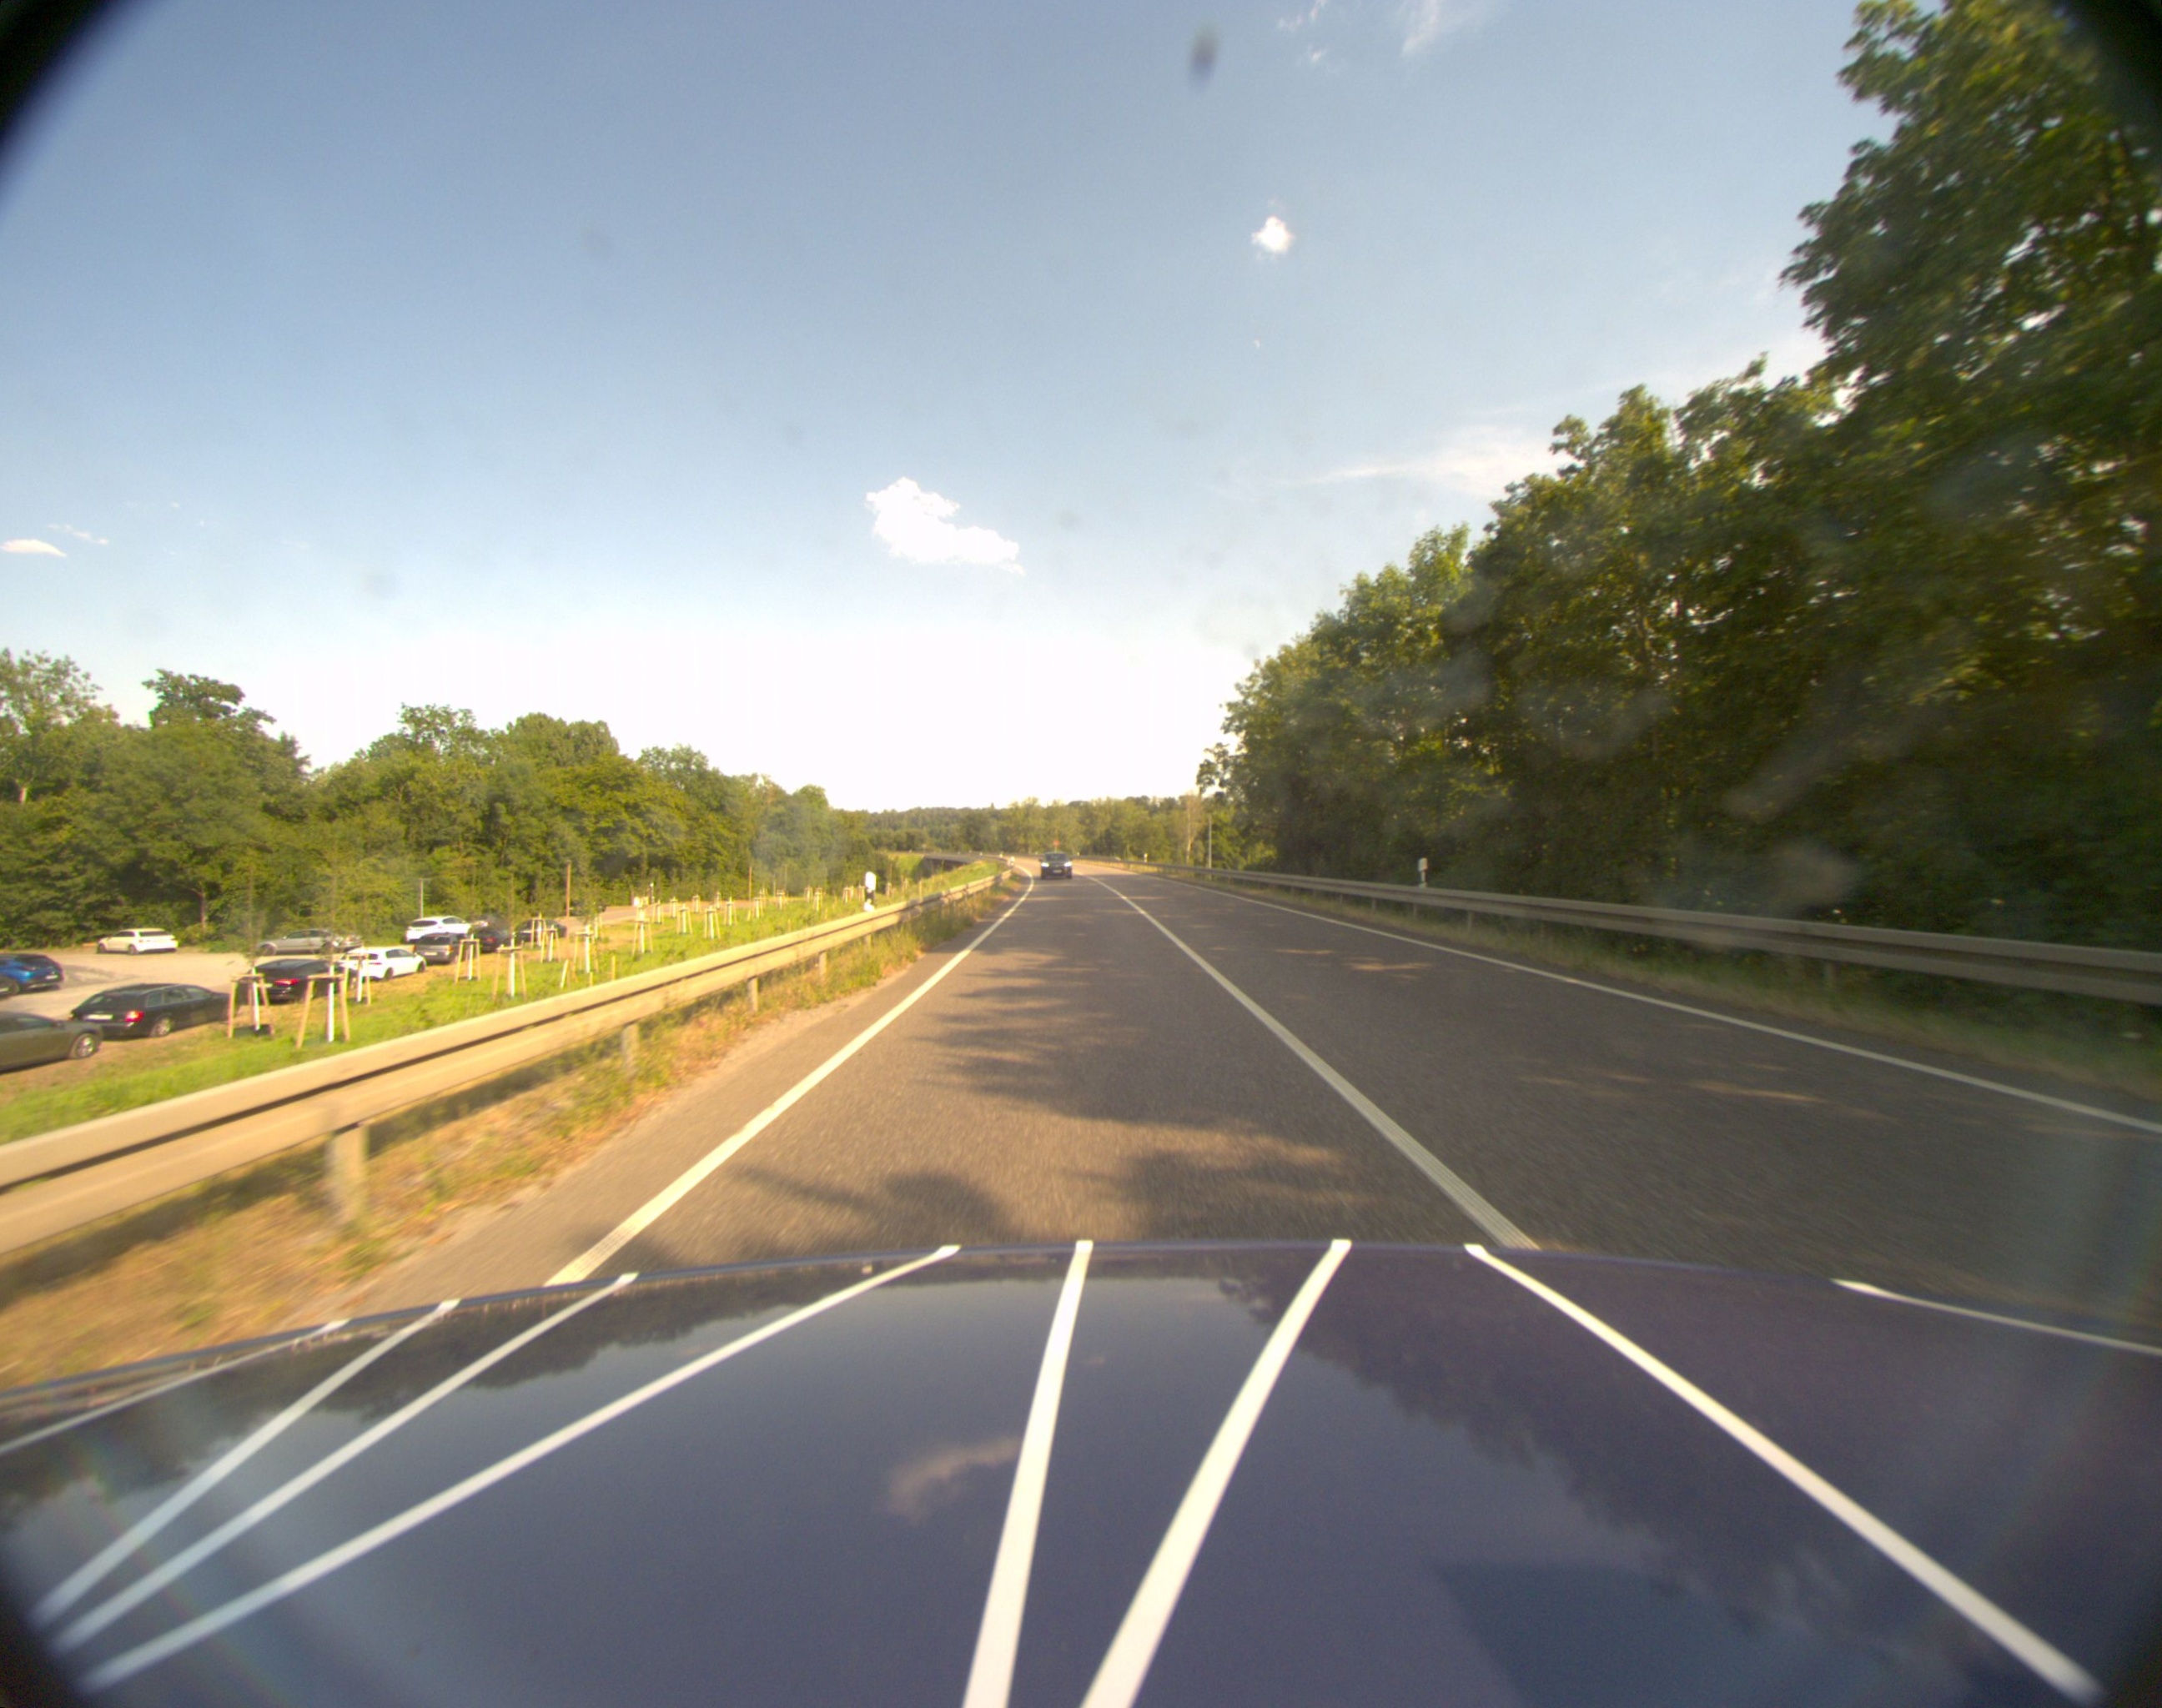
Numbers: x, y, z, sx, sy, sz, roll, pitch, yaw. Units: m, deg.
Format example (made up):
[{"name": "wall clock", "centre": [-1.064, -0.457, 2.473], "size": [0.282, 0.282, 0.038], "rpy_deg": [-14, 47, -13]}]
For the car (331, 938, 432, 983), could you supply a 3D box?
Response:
[{"name": "car", "centre": [-31.287, 4.735, 34.157], "size": [1.826, 1.473, 4.249], "rpy_deg": [1, -1, -20]}]

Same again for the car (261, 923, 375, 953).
[{"name": "car", "centre": [-42.853, 4.703, 42.789], "size": [4.250, 1.447, 1.615], "rpy_deg": [0, -1, -17]}]

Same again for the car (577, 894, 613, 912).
[{"name": "car", "centre": [-49.674, 4.988, 77.602], "size": [3.674, 1.488, 1.663], "rpy_deg": [0, 1, 32]}]

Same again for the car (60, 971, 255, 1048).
[{"name": "car", "centre": [-28.127, 4.675, 23.400], "size": [1.826, 1.473, 4.388], "rpy_deg": [1, -1, -20]}]

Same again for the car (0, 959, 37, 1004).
[{"name": "car", "centre": [-41.561, 4.761, 27.469], "size": [4.251, 1.447, 1.614], "rpy_deg": [-1, 0, -23]}]

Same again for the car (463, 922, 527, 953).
[{"name": "car", "centre": [-34.750, 4.923, 45.197], "size": [1.826, 1.393, 4.249], "rpy_deg": [1, -1, -20]}]

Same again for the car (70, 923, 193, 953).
[{"name": "car", "centre": [-53.712, 4.745, 43.070], "size": [4.248, 1.447, 1.711], "rpy_deg": [-1, -1, -11]}]

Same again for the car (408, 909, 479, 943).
[{"name": "car", "centre": [-41.287, 4.645, 49.349], "size": [1.661, 1.657, 4.701], "rpy_deg": [-1, 1, -15]}]

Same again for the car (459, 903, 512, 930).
[{"name": "car", "centre": [-42.883, 4.494, 54.849], "size": [1.661, 1.488, 4.215], "rpy_deg": [-1, 1, -18]}]

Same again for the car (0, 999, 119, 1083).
[{"name": "car", "centre": [-26.514, 4.620, 18.151], "size": [1.900, 1.473, 4.776], "rpy_deg": [3, -2, -16]}]

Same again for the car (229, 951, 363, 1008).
[{"name": "car", "centre": [-29.744, 4.710, 29.000], "size": [1.826, 1.473, 4.388], "rpy_deg": [1, -1, -20]}]

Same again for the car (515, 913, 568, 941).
[{"name": "car", "centre": [-36.415, 4.915, 51.413], "size": [1.661, 1.487, 4.217], "rpy_deg": [0, -1, -17]}]

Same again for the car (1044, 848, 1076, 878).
[{"name": "car", "centre": [-1.356, 0.529, 46.703], "size": [1.751, 1.645, 4.303], "rpy_deg": [-1, 2, -4]}]

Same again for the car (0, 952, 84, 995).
[{"name": "car", "centre": [-42.963, 4.769, 29.908], "size": [4.252, 1.447, 1.614], "rpy_deg": [0, -1, -23]}]

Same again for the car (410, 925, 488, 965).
[{"name": "car", "centre": [-33.281, 4.754, 40.132], "size": [1.826, 1.648, 4.249], "rpy_deg": [1, -1, -20]}]
